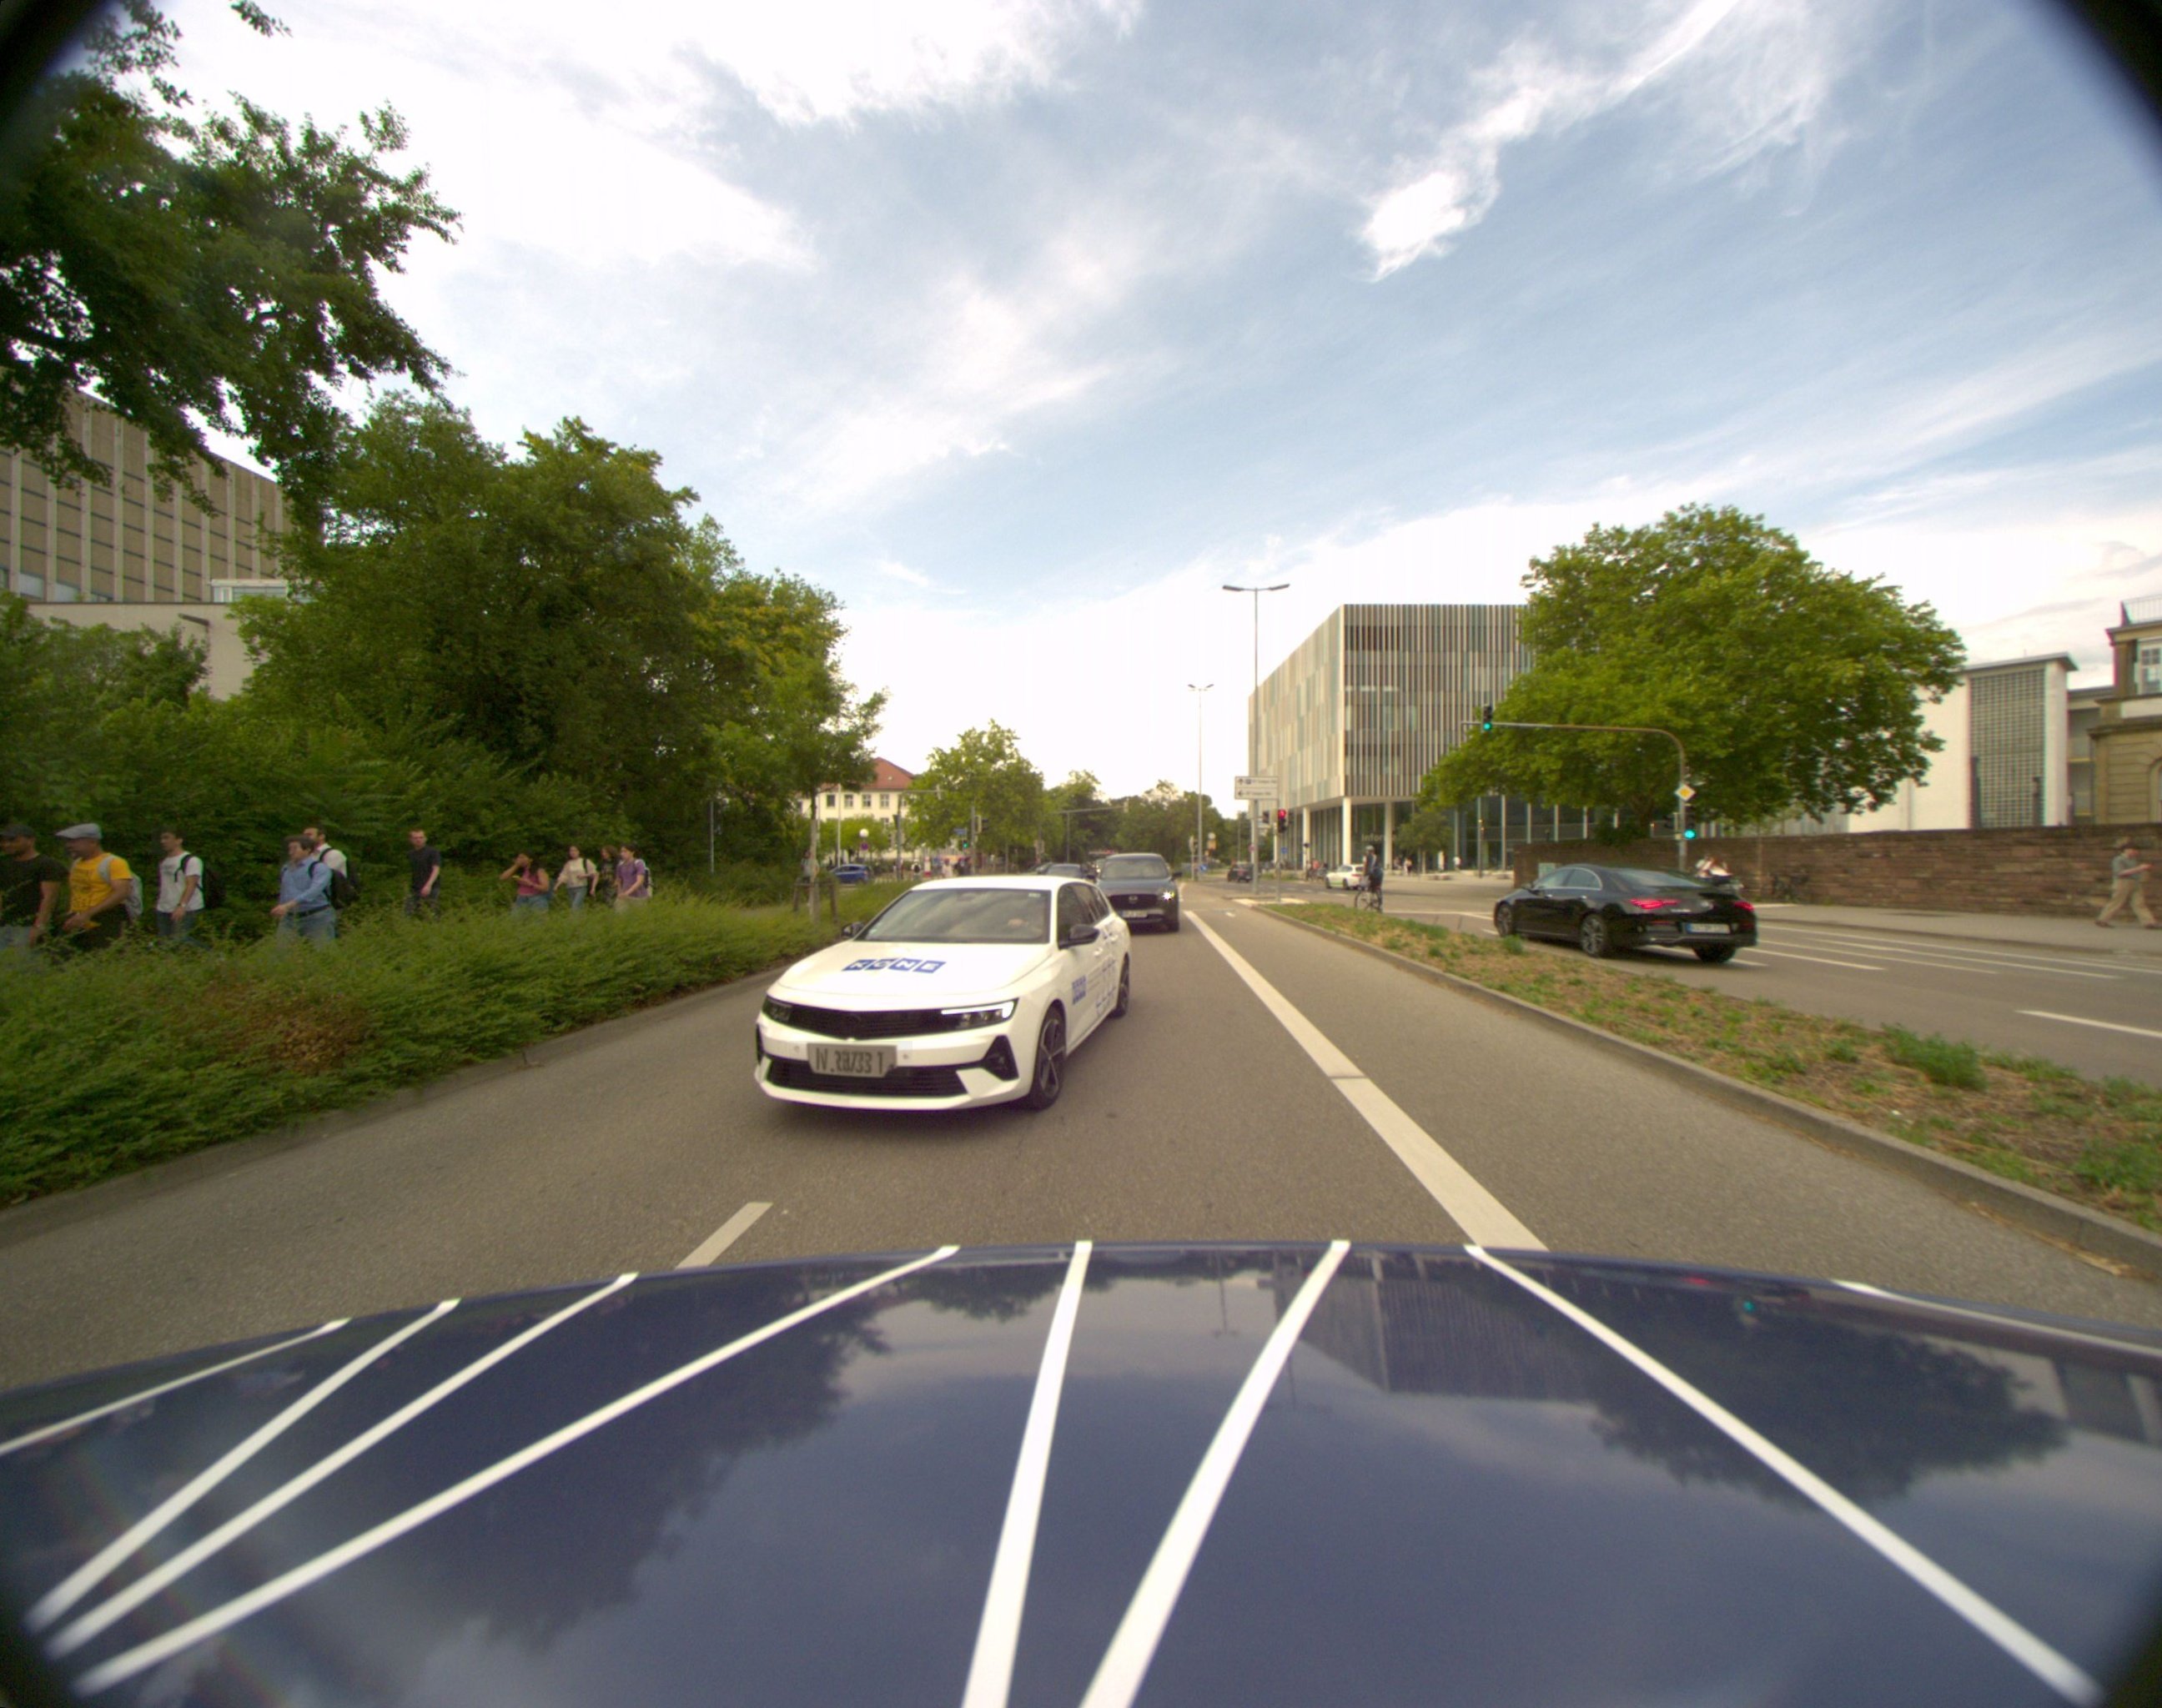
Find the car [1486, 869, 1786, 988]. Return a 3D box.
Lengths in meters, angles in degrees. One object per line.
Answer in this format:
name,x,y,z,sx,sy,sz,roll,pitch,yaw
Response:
car,8.476,1.026,12.206,1.806,1.480,4.407,0,0,3

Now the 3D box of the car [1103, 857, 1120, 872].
car,3.195,1.072,79.827,1.660,1.455,4.000,-1,0,2

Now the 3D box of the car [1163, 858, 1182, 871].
car,10.939,1.237,91.156,1.806,1.480,4.289,0,0,1

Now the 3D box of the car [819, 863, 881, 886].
car,-15.449,1.365,50.932,3.580,1.483,1.674,-1,1,0

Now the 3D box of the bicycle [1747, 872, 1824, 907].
bicycle,22.810,1.127,24.649,0.550,1.052,1.980,-3,0,-3

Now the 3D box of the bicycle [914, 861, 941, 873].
bicycle,-15.071,1.278,74.740,2.471,1.136,0.718,0,0,2

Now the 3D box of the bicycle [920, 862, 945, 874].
bicycle,-15.175,1.421,77.666,2.471,1.136,0.718,0,0,2

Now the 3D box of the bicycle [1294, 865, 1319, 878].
bicycle,18.186,1.438,61.299,1.823,0.983,0.728,-2,1,-13

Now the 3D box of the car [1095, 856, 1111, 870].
car,2.894,1.184,99.677,1.998,1.761,4.001,0,0,3

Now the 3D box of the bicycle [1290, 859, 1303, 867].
bicycle,28.014,1.179,98.766,1.581,1.017,0.389,-2,0,-4

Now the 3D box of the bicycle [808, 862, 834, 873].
bicycle,-26.612,1.361,77.788,2.471,1.136,0.718,0,0,2

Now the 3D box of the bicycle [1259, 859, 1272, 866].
bicycle,27.733,1.239,114.149,1.703,1.017,0.434,-2,0,-4

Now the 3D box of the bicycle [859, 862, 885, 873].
bicycle,-21.414,1.367,78.006,2.471,1.136,0.718,0,0,2

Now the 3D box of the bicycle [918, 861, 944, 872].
bicycle,-15.016,1.235,76.103,2.471,1.136,0.718,0,0,2

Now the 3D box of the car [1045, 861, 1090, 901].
car,-0.517,1.060,31.021,1.703,1.485,3.832,0,0,0

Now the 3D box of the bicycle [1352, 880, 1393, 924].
bicycle,7.678,1.232,20.071,0.574,1.049,1.927,0,0,8

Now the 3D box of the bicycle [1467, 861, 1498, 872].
bicycle,36.107,1.145,68.271,2.684,0.993,0.672,0,0,-14

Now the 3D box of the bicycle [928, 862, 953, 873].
bicycle,-14.502,1.411,78.525,2.471,1.136,0.718,0,0,2

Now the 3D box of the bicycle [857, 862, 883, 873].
bicycle,-21.437,1.369,77.210,2.471,1.136,0.718,0,0,2

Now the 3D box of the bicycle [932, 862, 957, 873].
bicycle,-14.319,1.385,79.753,2.471,1.136,0.718,0,0,2

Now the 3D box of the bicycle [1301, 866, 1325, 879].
bicycle,18.075,1.470,59.233,1.693,0.983,0.571,0,0,-13

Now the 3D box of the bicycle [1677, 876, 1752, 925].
bicycle,17.445,1.251,20.995,0.619,1.210,2.046,0,0,9

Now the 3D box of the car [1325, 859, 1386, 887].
car,15.336,1.026,42.644,1.806,1.480,4.415,0,0,-1

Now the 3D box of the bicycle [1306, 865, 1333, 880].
bicycle,18.136,1.400,57.728,1.896,1.163,0.606,0,0,-14

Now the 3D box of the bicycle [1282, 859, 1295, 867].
bicycle,27.683,1.205,101.186,1.581,1.017,0.389,-2,0,-4

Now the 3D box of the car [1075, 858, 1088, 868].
car,0.059,1.192,101.532,1.703,1.361,3.832,0,0,1

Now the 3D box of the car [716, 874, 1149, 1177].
car,-0.636,0.935,6.378,1.742,1.430,4.787,0,0,13

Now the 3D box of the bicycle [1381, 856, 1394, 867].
bicycle,30.485,0.724,75.547,1.549,1.023,0.393,-2,0,-36

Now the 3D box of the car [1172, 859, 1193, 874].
car,10.889,1.307,81.960,1.806,1.503,4.103,0,1,1

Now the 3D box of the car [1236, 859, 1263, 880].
car,12.683,1.148,57.317,1.575,1.480,3.638,1,0,5

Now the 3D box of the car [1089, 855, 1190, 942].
car,1.185,0.867,16.741,1.904,1.639,4.646,-1,0,2

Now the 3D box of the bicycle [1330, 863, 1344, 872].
bicycle,27.161,1.445,80.595,1.613,0.932,0.393,-2,0,-32

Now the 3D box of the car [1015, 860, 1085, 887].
car,-2.037,1.266,49.563,4.180,1.547,1.802,-2,0,-21

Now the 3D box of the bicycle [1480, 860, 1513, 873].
bicycle,36.071,1.076,65.913,2.684,1.083,0.796,0,0,-14

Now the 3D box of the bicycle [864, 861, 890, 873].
bicycle,-21.354,1.365,79.640,2.471,1.136,0.718,0,0,2

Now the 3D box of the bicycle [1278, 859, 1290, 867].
bicycle,27.668,1.220,103.670,1.581,1.017,0.389,-2,0,-4
